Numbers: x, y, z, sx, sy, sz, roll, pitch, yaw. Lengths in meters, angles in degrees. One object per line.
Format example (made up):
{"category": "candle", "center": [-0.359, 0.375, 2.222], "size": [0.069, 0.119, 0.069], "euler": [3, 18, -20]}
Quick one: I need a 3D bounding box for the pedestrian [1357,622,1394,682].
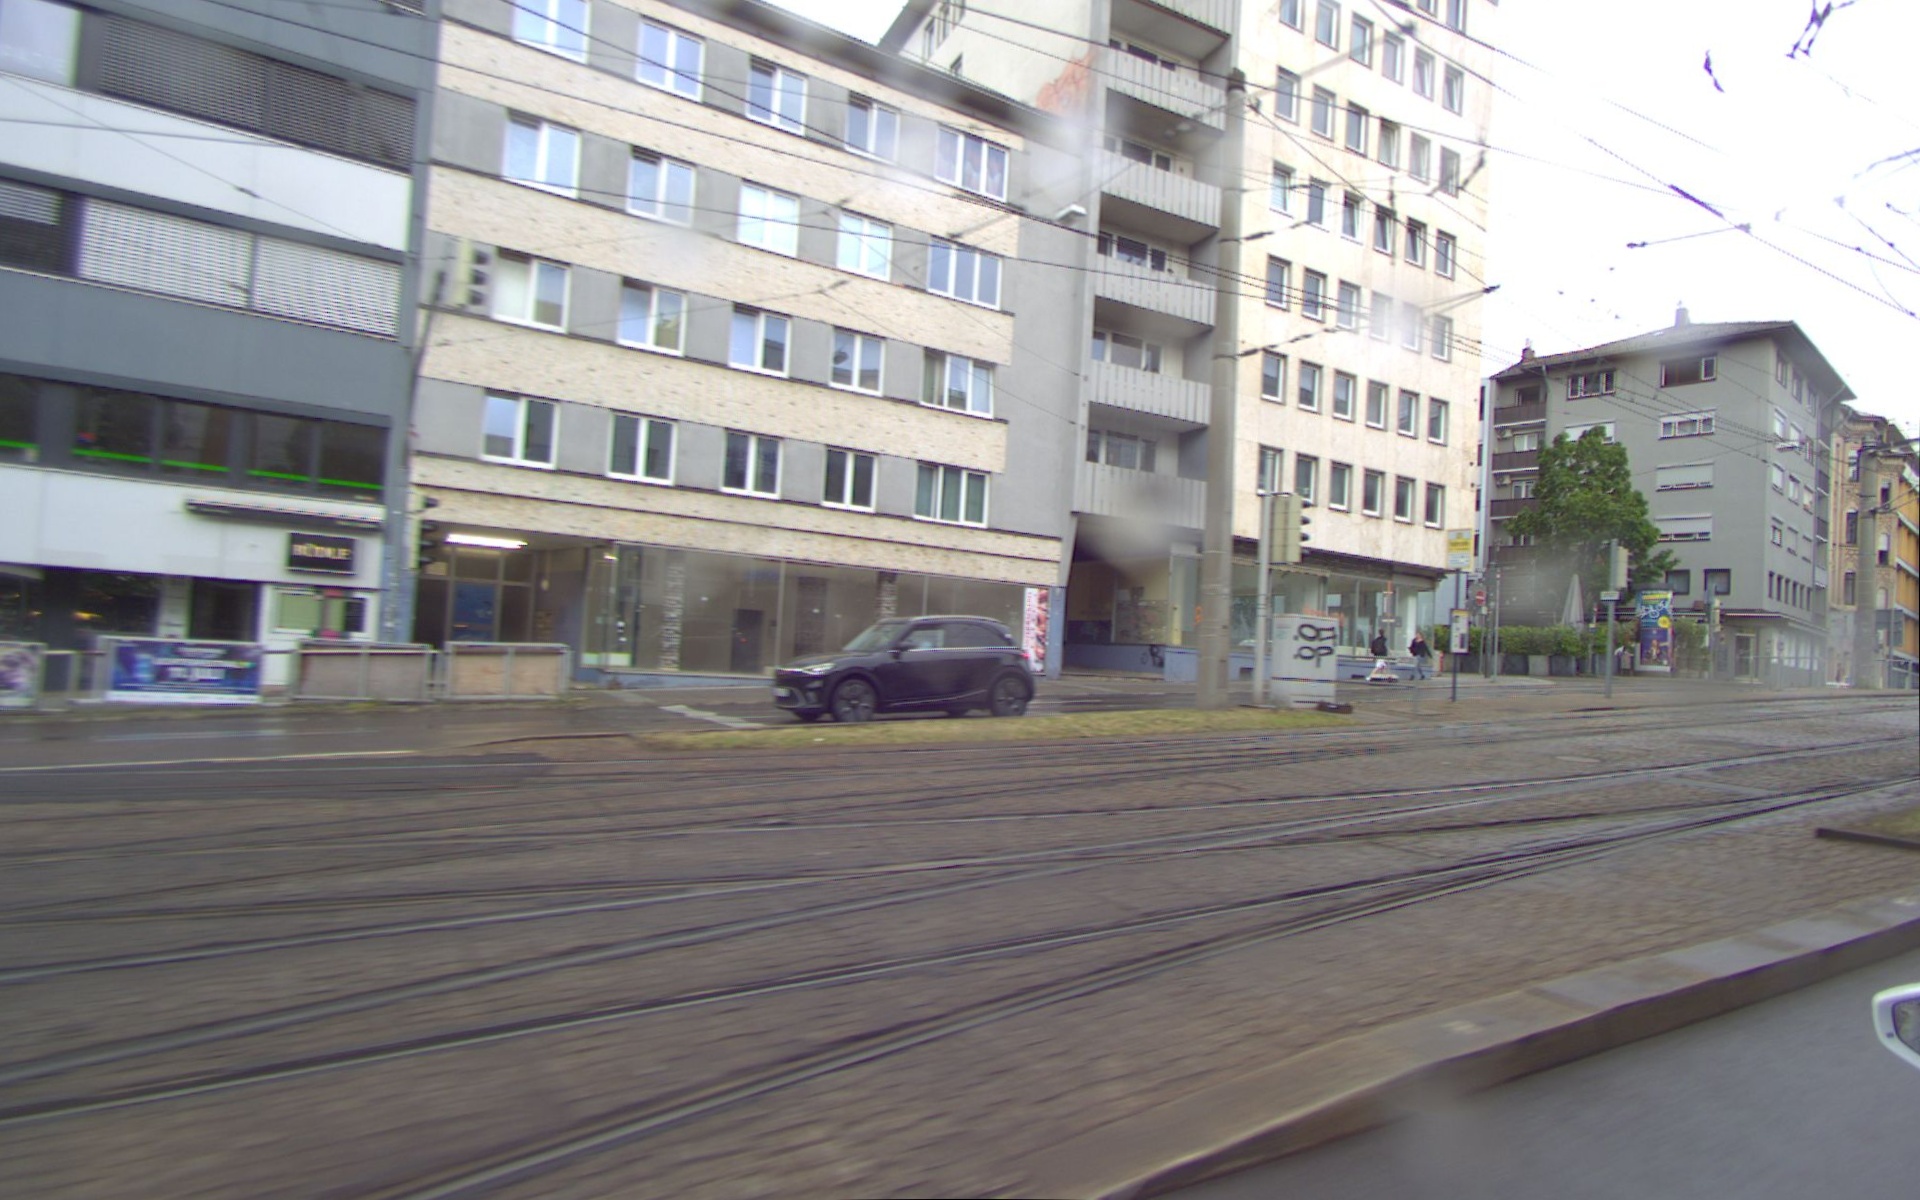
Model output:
{"category": "pedestrian", "center": [12.470, 1.547, 30.161], "size": [0.899, 1.761, 0.593], "euler": [2, -2, -31]}

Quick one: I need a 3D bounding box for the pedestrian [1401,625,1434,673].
{"category": "pedestrian", "center": [15.123, 1.615, 33.176], "size": [0.767, 1.569, 0.674], "euler": [2, -2, -30]}

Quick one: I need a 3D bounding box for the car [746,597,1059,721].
{"category": "car", "center": [-0.858, 0.891, 15.676], "size": [4.472, 1.695, 1.985], "euler": [2, -2, -29]}

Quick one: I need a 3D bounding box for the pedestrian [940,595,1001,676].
{"category": "pedestrian", "center": [0.220, 0.766, 21.767], "size": [0.988, 1.703, 0.883], "euler": [2, -2, -32]}

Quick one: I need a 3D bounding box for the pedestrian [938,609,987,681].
{"category": "pedestrian", "center": [0.059, 1.099, 24.436], "size": [0.987, 1.703, 0.675], "euler": [2, -2, -31]}
